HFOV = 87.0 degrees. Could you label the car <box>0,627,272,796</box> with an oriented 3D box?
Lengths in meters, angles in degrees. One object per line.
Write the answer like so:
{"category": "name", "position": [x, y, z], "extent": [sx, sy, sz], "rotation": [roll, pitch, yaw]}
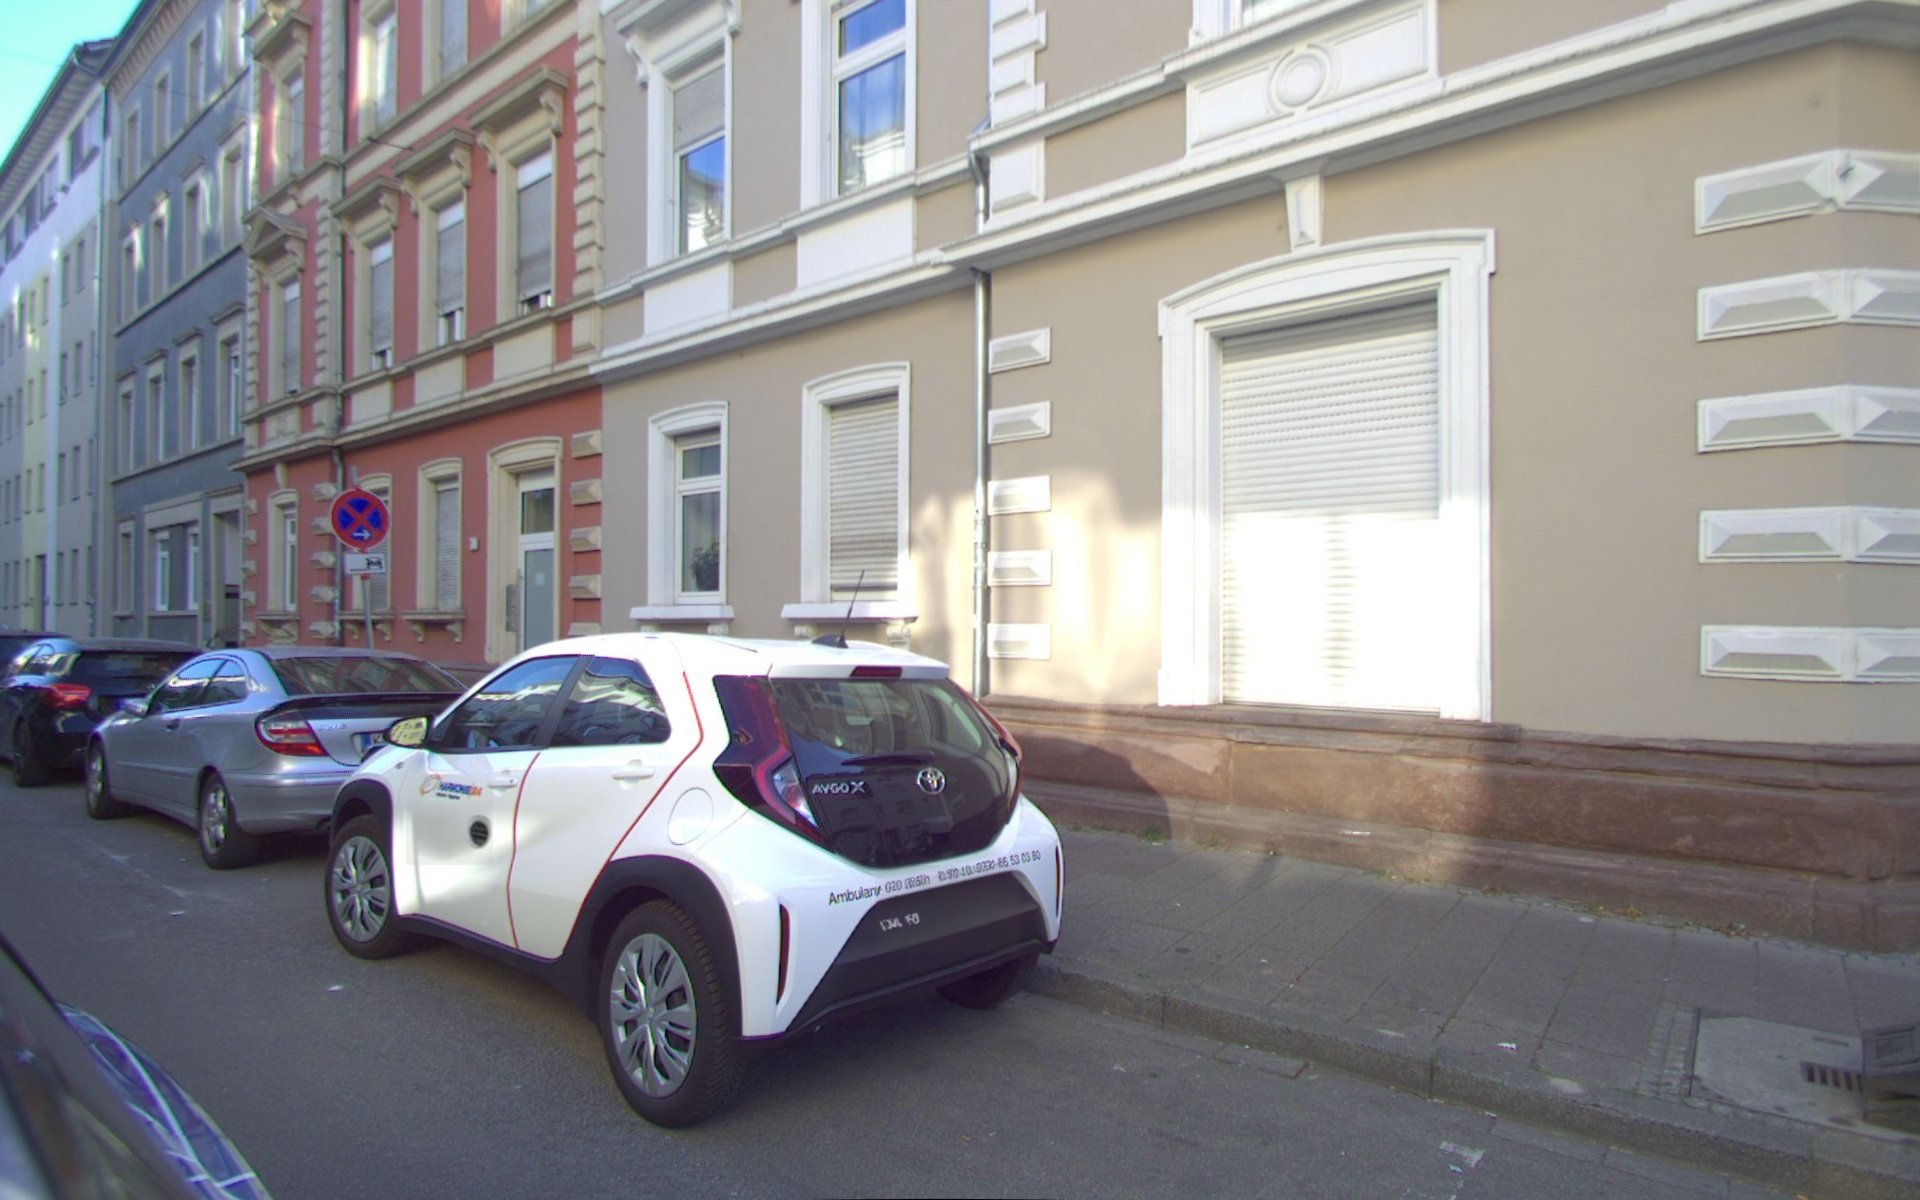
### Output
{"category": "car", "position": [-9.450, 1.098, 11.074], "extent": [4.260, 1.495, 1.902], "rotation": [-2, -4, 38]}

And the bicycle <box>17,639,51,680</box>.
{"category": "bicycle", "position": [-25.684, 1.624, 28.054], "extent": [1.750, 1.082, 0.446], "rotation": [-1, -1, 39]}

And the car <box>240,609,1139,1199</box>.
{"category": "car", "position": [-1.516, 0.891, 4.684], "extent": [4.263, 1.519, 1.901], "rotation": [-2, -5, 40]}

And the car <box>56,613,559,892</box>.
{"category": "car", "position": [-5.157, 0.966, 7.808], "extent": [4.260, 1.572, 1.902], "rotation": [-2, -4, 38]}

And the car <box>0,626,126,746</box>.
{"category": "car", "position": [-14.070, 1.202, 14.852], "extent": [4.234, 1.572, 1.883], "rotation": [-2, -4, 38]}

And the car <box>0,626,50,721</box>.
{"category": "car", "position": [-17.849, 1.251, 17.835], "extent": [4.260, 1.572, 1.902], "rotation": [-2, -4, 38]}
